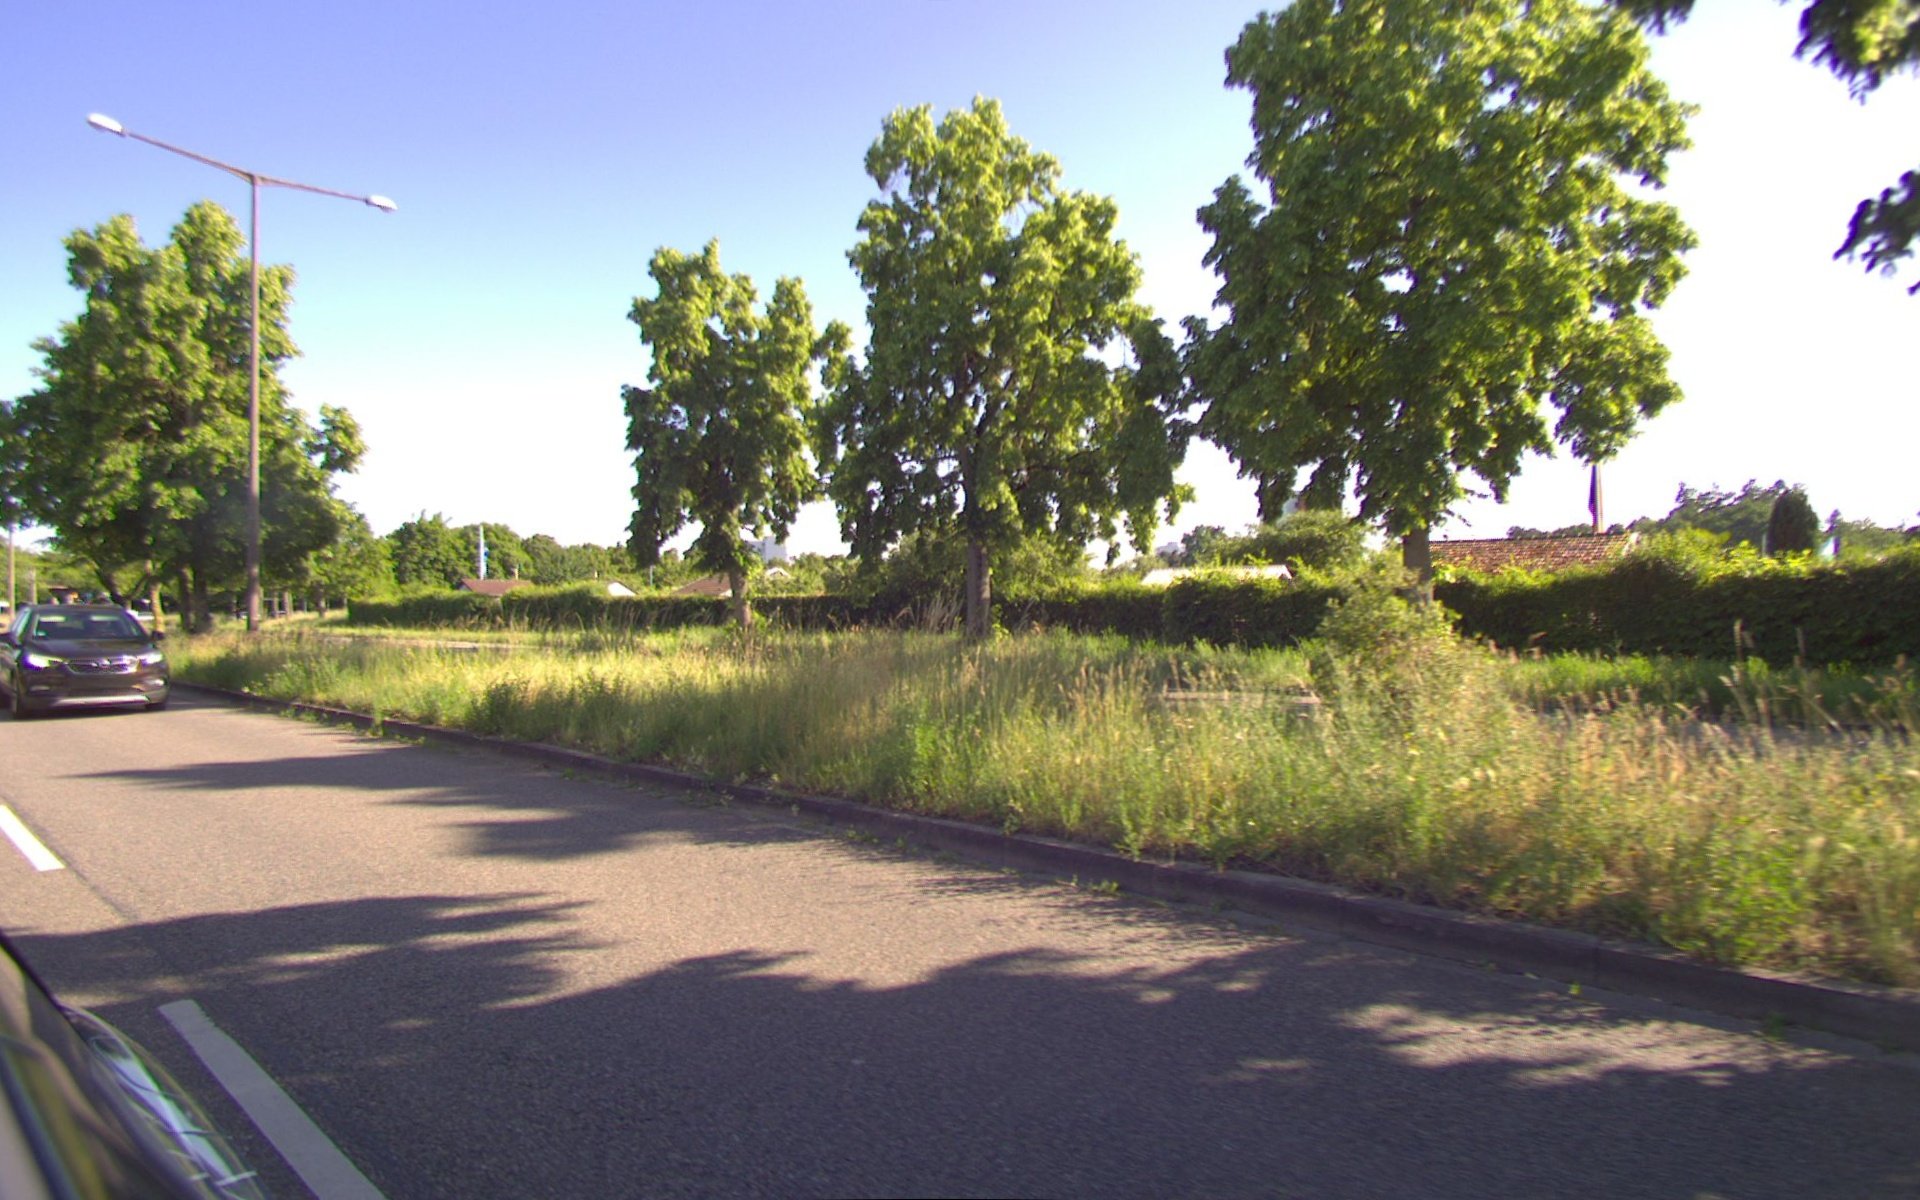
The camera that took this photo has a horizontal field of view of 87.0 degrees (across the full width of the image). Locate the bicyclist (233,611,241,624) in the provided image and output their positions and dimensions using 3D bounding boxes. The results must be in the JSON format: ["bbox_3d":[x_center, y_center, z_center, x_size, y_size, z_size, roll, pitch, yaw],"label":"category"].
[{"bbox_3d":[-73.684,1.784,103.162,0.575,1.266,0.577,-1,0,-40],"label":"bicyclist"}]

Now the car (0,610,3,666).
[{"bbox_3d":[-29.842,1.121,29.968,4.090,1.626,1.807,-1,-1,41],"label":"car"}]

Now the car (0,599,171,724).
[{"bbox_3d":[-13.620,0.859,15.529,3.854,1.675,1.691,-1,-1,41],"label":"car"}]

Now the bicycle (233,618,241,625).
[{"bbox_3d":[-73.692,2.178,103.154,0.558,0.700,1.878,-1,0,-39],"label":"bicycle"}]
